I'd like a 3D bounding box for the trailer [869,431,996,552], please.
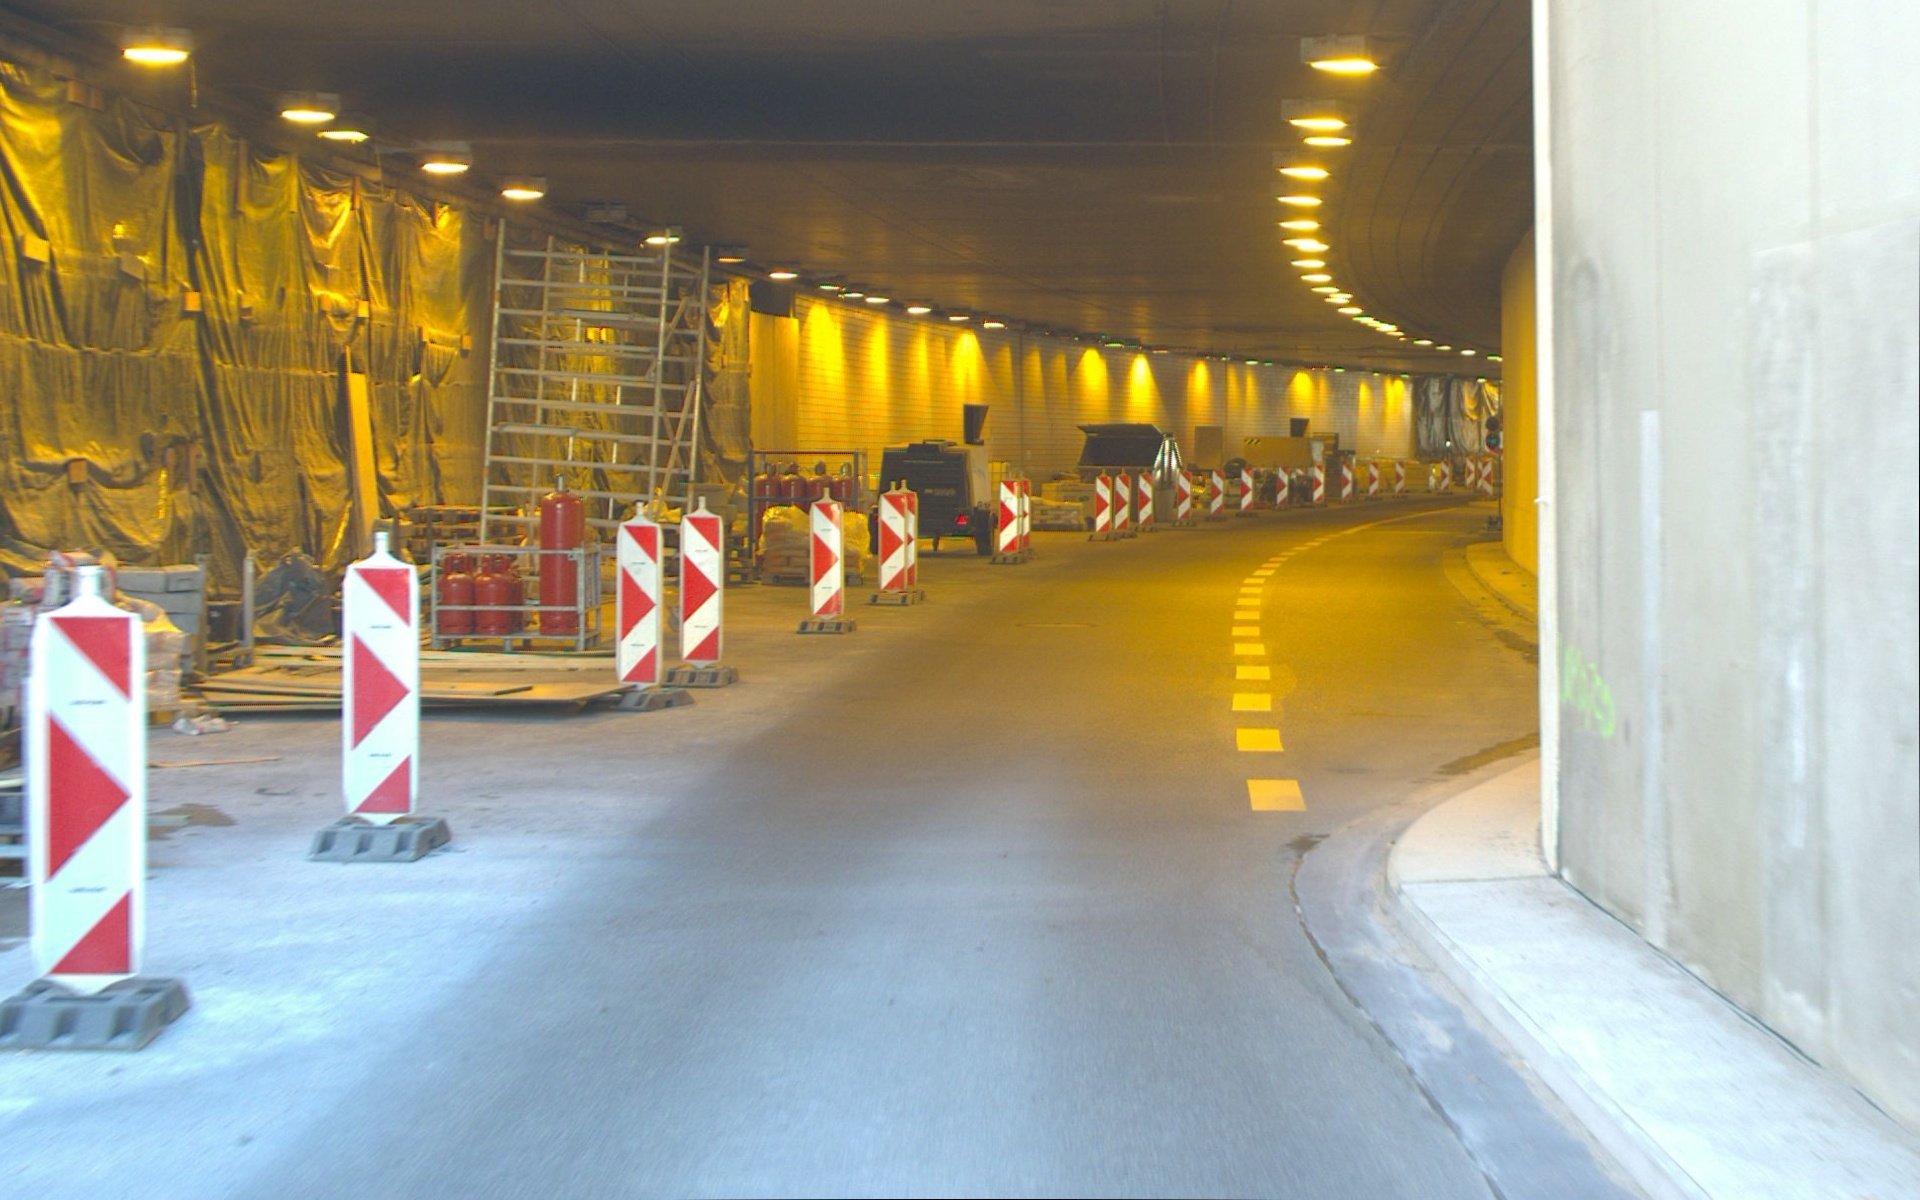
[{"bbox_3d":[-0.403,-1.692,53.204,1.581,1.792,2.939,1,2,7],"label":"trailer"}]
